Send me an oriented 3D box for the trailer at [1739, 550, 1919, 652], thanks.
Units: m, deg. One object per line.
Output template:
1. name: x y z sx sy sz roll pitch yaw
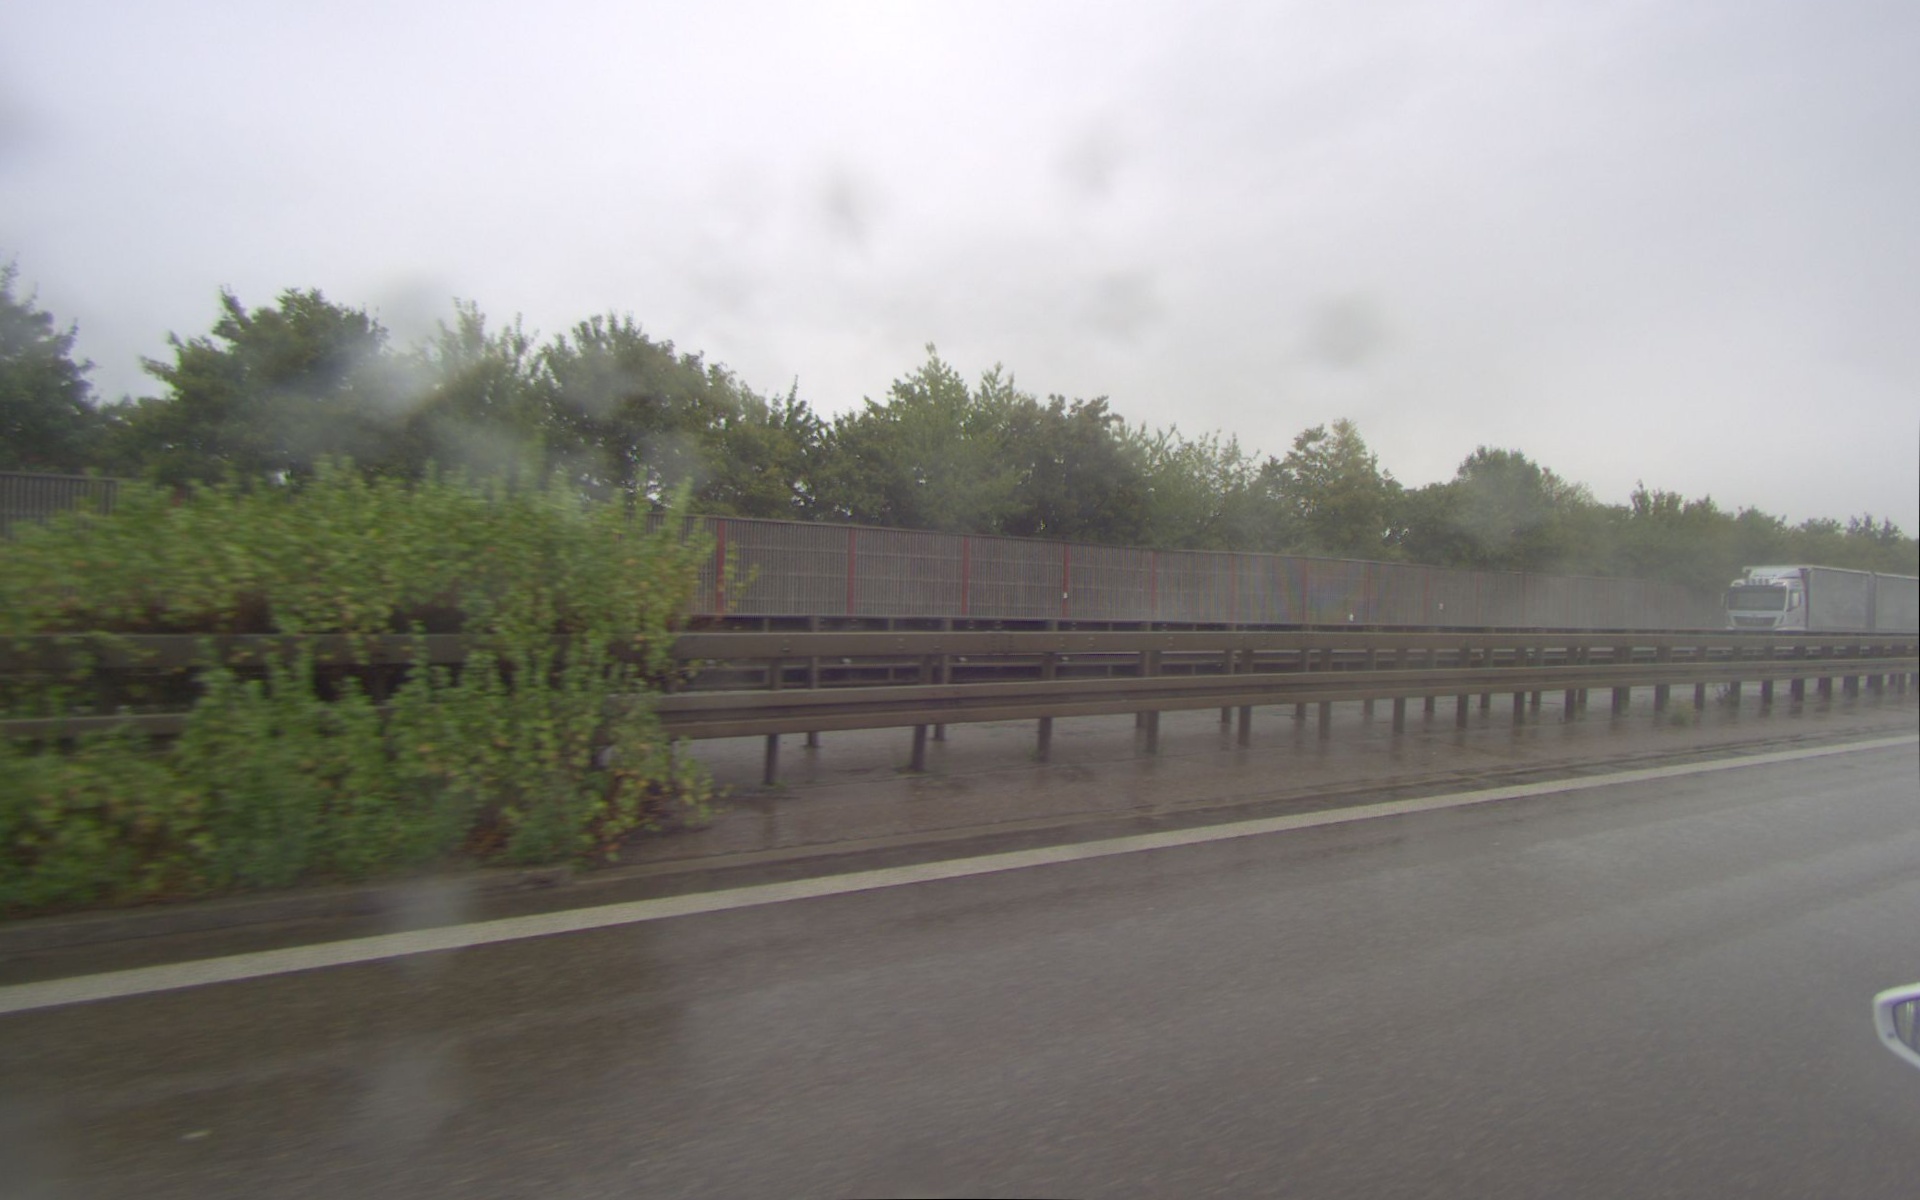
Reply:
1. trailer: 45.351 0.150 52.121 12.109 4.758 3.847 1 0 -33

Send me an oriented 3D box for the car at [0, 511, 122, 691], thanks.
1. car: -9.709 -0.026 8.928 3.193 1.571 1.588 1 0 -30

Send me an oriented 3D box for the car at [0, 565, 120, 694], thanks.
1. car: -11.481 0.298 11.034 3.193 1.382 1.588 1 0 -30

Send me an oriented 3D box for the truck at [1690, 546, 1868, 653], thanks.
1. truck: 39.549 0.039 48.410 9.388 4.701 3.814 1 0 -32
